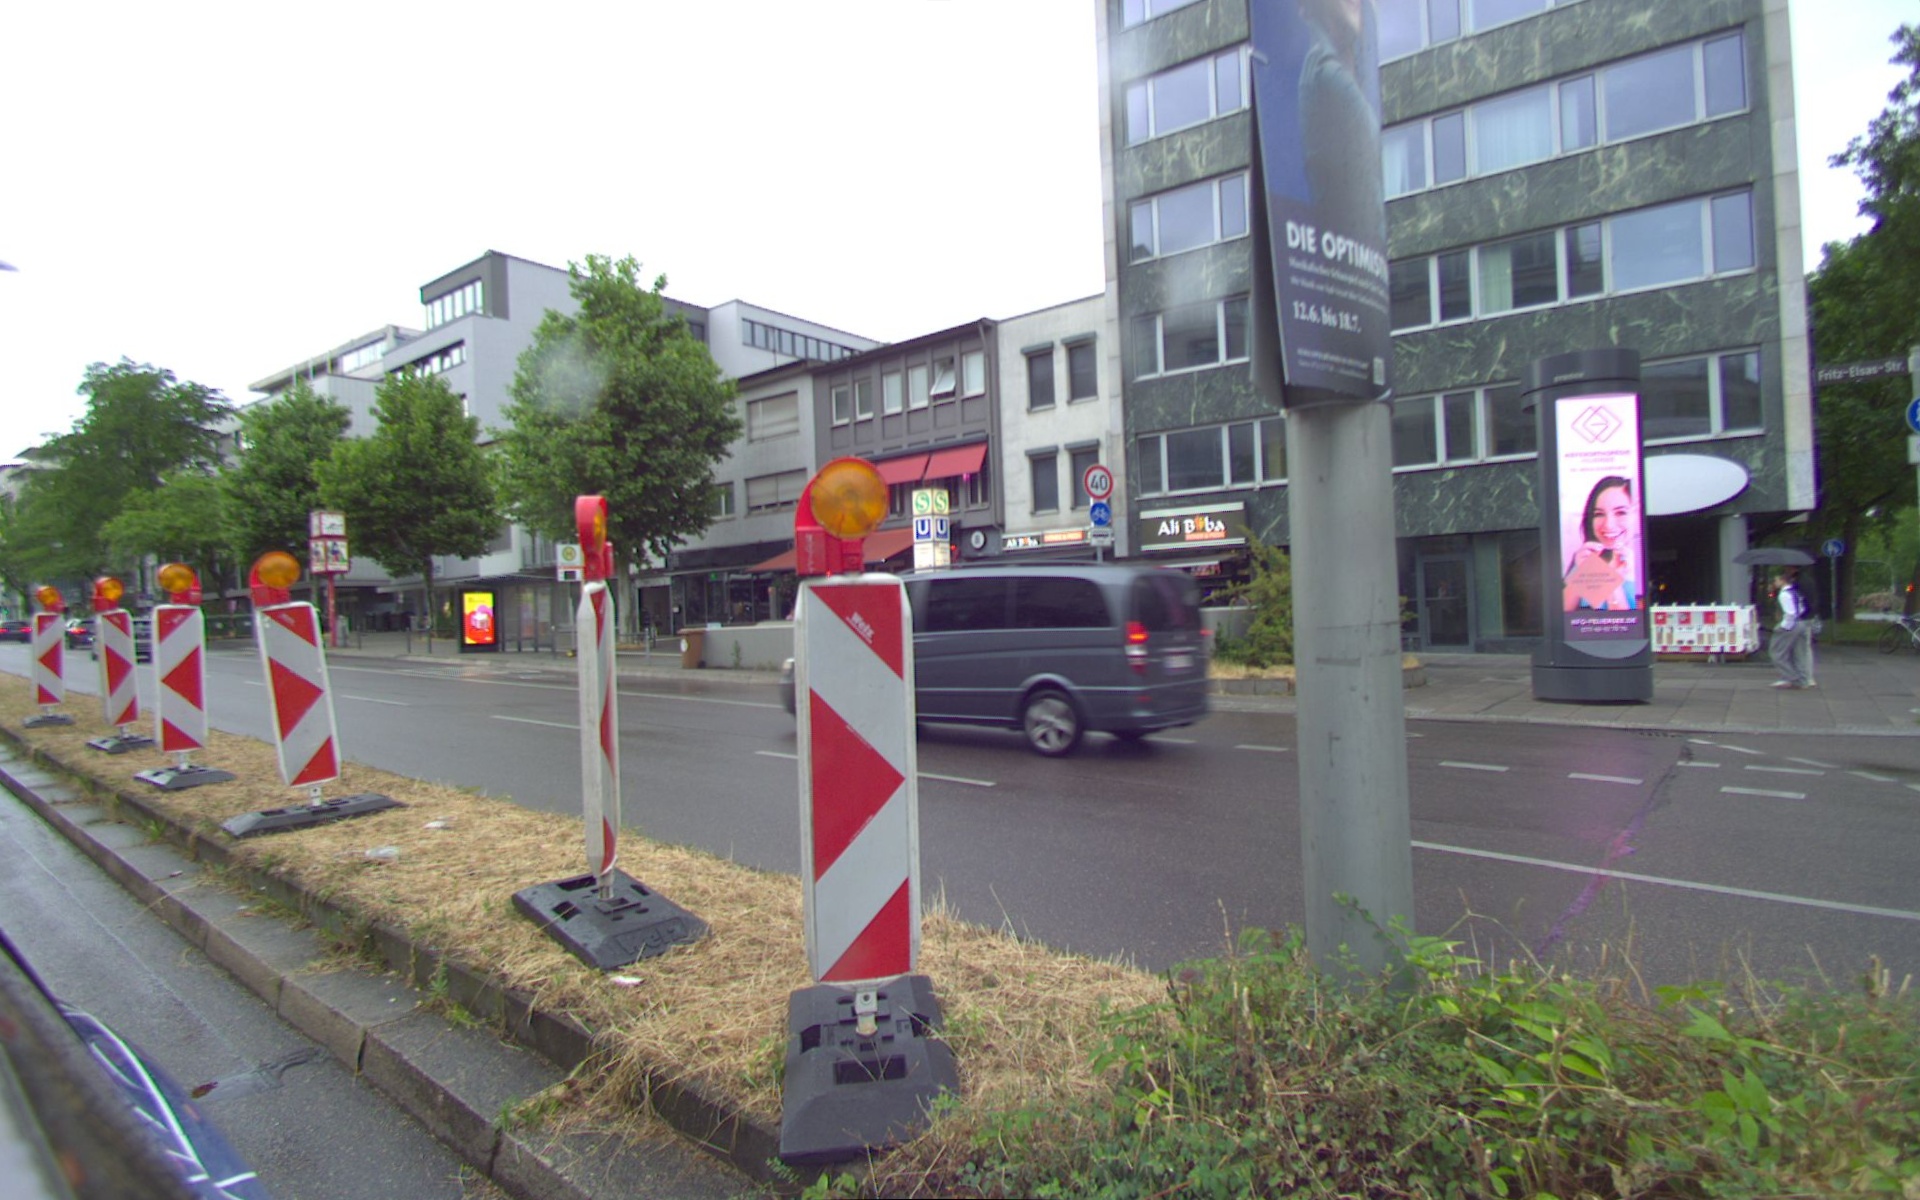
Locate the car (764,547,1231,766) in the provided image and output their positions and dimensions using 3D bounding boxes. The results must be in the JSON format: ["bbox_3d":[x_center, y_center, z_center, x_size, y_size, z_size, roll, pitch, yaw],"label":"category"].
[{"bbox_3d":[0.264,0.508,11.248,4.955,1.942,1.976,0,0,36],"label":"car"}]

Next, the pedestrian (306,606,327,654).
[{"bbox_3d":[-25.051,1.175,39.385,0.567,1.839,0.581,-1,0,-43],"label":"pedestrian"}]

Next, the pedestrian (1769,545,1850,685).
[{"bbox_3d":[12.709,0.224,15.146,0.588,2.029,0.730,0,-1,-29],"label":"pedestrian"}]

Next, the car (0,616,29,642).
[{"bbox_3d":[-60.458,1.846,64.028,4.415,1.566,1.671,-1,0,39],"label":"car"}]

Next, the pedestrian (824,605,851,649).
[{"bbox_3d":[-4.297,0.944,35.502,0.611,1.540,0.660,-2,-1,44],"label":"pedestrian"}]

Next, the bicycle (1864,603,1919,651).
[{"bbox_3d":[21.255,0.592,22.395,1.780,1.060,0.579,-1,-1,37],"label":"bicycle"}]

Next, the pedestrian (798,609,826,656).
[{"bbox_3d":[-4.889,1.063,33.444,0.611,1.540,0.660,-2,-1,44],"label":"pedestrian"}]

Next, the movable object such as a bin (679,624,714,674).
[{"bbox_3d":[-6.109,1.129,23.456,0.660,1.109,0.501,-1,0,39],"label":"movable object such as a bin"}]

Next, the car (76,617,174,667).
[{"bbox_3d":[-27.555,1.368,33.349,4.286,1.522,1.671,-2,-1,39],"label":"car"}]

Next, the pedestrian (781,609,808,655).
[{"bbox_3d":[-5.627,1.081,34.489,0.611,1.540,0.660,-2,-1,44],"label":"pedestrian"}]

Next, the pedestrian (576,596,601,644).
[{"bbox_3d":[-16.069,0.849,43.772,0.764,2.029,0.768,-1,0,-41],"label":"pedestrian"}]

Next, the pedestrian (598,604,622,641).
[{"bbox_3d":[-15.371,0.970,44.446,0.764,1.577,0.768,-1,0,-41],"label":"pedestrian"}]

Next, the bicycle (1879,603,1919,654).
[{"bbox_3d":[20.759,0.598,21.487,1.780,1.060,0.579,-1,-1,37],"label":"bicycle"}]

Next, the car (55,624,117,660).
[{"bbox_3d":[-41.297,1.999,47.803,4.211,1.442,1.670,-6,-4,41],"label":"car"}]

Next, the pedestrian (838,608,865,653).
[{"bbox_3d":[-3.763,1.041,35.022,0.611,1.540,0.660,-2,-1,44],"label":"pedestrian"}]

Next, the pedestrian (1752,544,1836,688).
[{"bbox_3d":[12.173,0.227,14.781,0.588,2.029,0.730,0,-1,-29],"label":"pedestrian"}]
